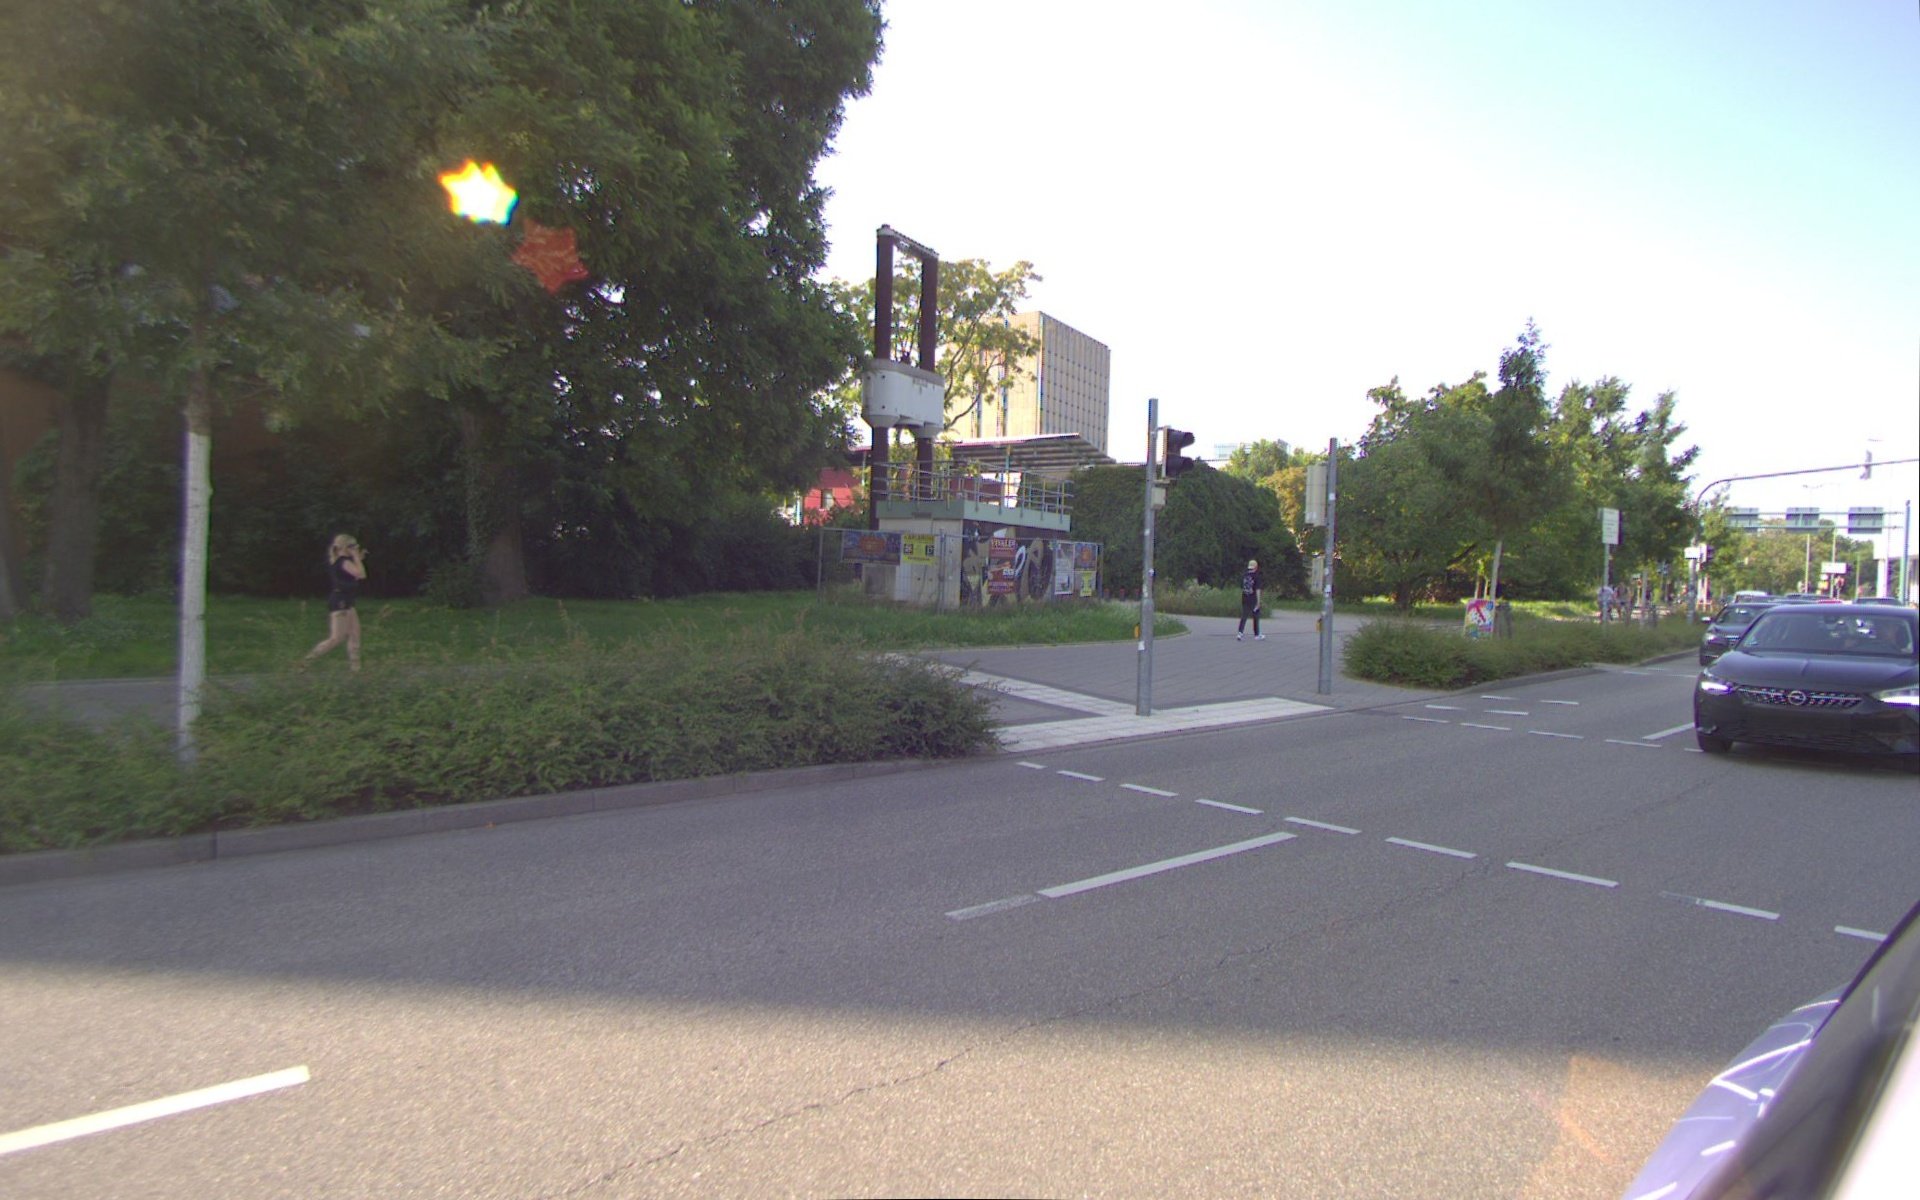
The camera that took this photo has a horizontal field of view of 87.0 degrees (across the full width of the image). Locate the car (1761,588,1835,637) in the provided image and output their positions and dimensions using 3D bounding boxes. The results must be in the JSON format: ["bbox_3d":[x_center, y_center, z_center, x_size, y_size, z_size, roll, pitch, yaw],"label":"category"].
[{"bbox_3d":[28.899,0.383,34.999,1.679,1.510,4.611,3,2,37],"label":"car"}]

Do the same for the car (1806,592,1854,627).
[{"bbox_3d":[53.349,0.552,62.085,1.677,1.965,4.024,3,2,34],"label":"car"}]

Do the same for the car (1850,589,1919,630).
[{"bbox_3d":[36.982,0.331,40.461,1.679,1.510,4.314,3,2,37],"label":"car"}]

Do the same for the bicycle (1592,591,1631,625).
[{"bbox_3d":[23.591,0.274,36.625,0.771,1.131,2.268,3,2,42],"label":"bicycle"}]

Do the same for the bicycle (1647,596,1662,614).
[{"bbox_3d":[45.602,0.330,66.418,0.768,1.131,2.275,2,1,35],"label":"bicycle"}]

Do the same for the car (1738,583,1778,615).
[{"bbox_3d":[52.145,-0.085,66.202,1.677,1.965,4.318,3,2,35],"label":"car"}]

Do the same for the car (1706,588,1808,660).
[{"bbox_3d":[18.211,0.472,23.060,1.680,1.460,4.309,1,1,40],"label":"car"}]

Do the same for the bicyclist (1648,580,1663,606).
[{"bbox_3d":[45.599,-0.450,66.358,0.769,1.697,0.912,2,1,35],"label":"bicyclist"}]

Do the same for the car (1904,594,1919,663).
[{"bbox_3d":[22.117,0.622,22.139,1.830,1.453,4.485,2,2,40],"label":"car"}]

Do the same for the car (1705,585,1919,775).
[{"bbox_3d":[8.888,0.632,10.011,4.298,1.510,1.685,0,1,-43],"label":"car"}]

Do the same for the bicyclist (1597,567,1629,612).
[{"bbox_3d":[23.644,-0.389,36.652,0.771,1.612,0.910,3,2,42],"label":"bicyclist"}]

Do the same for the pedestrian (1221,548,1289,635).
[{"bbox_3d":[6.412,-0.189,22.027,0.986,1.804,0.959,0,4,-43],"label":"pedestrian"}]

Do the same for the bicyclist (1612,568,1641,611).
[{"bbox_3d":[25.309,-0.401,38.405,0.770,1.613,0.910,2,1,41],"label":"bicyclist"}]

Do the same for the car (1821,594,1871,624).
[{"bbox_3d":[48.386,0.444,55.328,1.679,1.510,4.314,3,2,37],"label":"car"}]

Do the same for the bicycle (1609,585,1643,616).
[{"bbox_3d":[25.256,-0.003,38.358,0.770,1.131,2.270,2,2,41],"label":"bicycle"}]

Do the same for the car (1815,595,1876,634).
[{"bbox_3d":[41.655,0.624,47.698,1.774,1.625,4.362,3,3,37],"label":"car"}]

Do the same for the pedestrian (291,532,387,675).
[{"bbox_3d":[-6.654,0.023,10.854,0.840,1.461,0.728,1,2,-32],"label":"pedestrian"}]
